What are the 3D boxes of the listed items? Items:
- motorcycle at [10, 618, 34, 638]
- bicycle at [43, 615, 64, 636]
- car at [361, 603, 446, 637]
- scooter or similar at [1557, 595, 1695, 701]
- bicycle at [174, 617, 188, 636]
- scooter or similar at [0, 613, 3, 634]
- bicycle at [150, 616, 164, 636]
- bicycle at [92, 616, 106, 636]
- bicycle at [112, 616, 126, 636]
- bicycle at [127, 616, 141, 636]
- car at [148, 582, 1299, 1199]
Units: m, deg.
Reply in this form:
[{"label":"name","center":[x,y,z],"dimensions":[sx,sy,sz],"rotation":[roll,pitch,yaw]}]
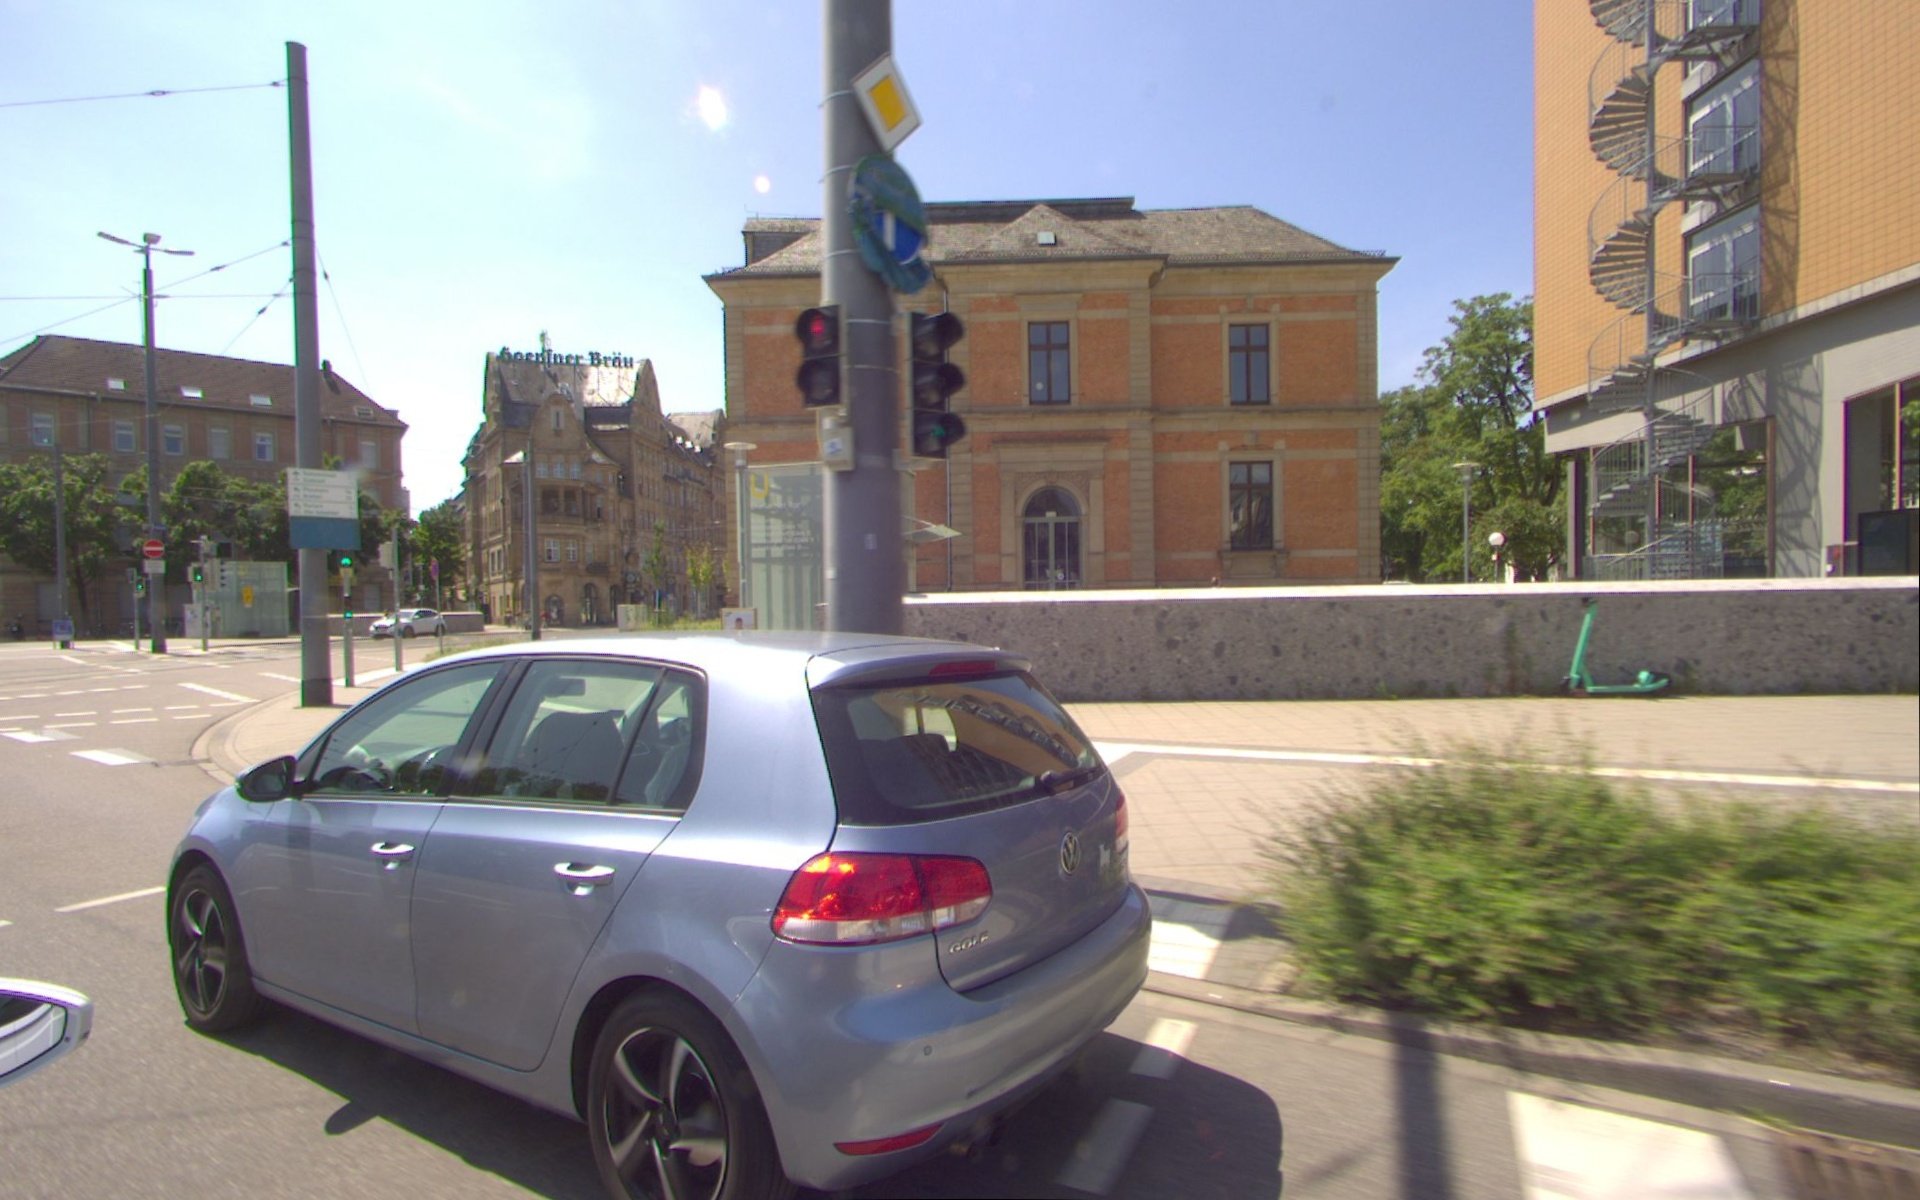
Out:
[{"label":"motorcycle","center":[-51.788,1.526,55.262],"dimensions":[1.920,1.089,0.578],"rotation":[-1,1,35]},{"label":"bicycle","center":[-51.041,1.427,56.374],"dimensions":[1.797,1.135,0.549],"rotation":[-1,1,38]},{"label":"car","center":[-28.670,1.011,51.726],"dimensions":[1.662,1.626,4.192],"rotation":[-1,0,7]},{"label":"scooter or similar","center":[7.633,0.545,11.511],"dimensions":[1.227,1.186,0.458],"rotation":[-1,1,12]},{"label":"bicycle","center":[-47.749,1.591,61.358],"dimensions":[0.547,1.134,1.911],"rotation":[-1,1,-42]},{"label":"scooter or similar","center":[-54.733,1.333,55.956],"dimensions":[0.588,1.197,1.792],"rotation":[-1,0,7]},{"label":"bicycle","center":[-48.416,1.558,60.356],"dimensions":[0.547,1.134,1.853],"rotation":[-1,1,-42]},{"label":"bicycle","center":[-49.805,1.477,57.929],"dimensions":[0.547,1.134,1.803],"rotation":[-1,1,-42]},{"label":"bicycle","center":[-49.156,1.494,58.518],"dimensions":[0.547,1.134,1.803],"rotation":[-1,1,-42]},{"label":"bicycle","center":[-48.817,1.515,59.157],"dimensions":[0.547,1.134,1.872],"rotation":[-1,1,-42]},{"label":"car","center":[-1.041,0.753,3.484],"dimensions":[3.947,1.478,1.648],"rotation":[-1,-1,33]}]
